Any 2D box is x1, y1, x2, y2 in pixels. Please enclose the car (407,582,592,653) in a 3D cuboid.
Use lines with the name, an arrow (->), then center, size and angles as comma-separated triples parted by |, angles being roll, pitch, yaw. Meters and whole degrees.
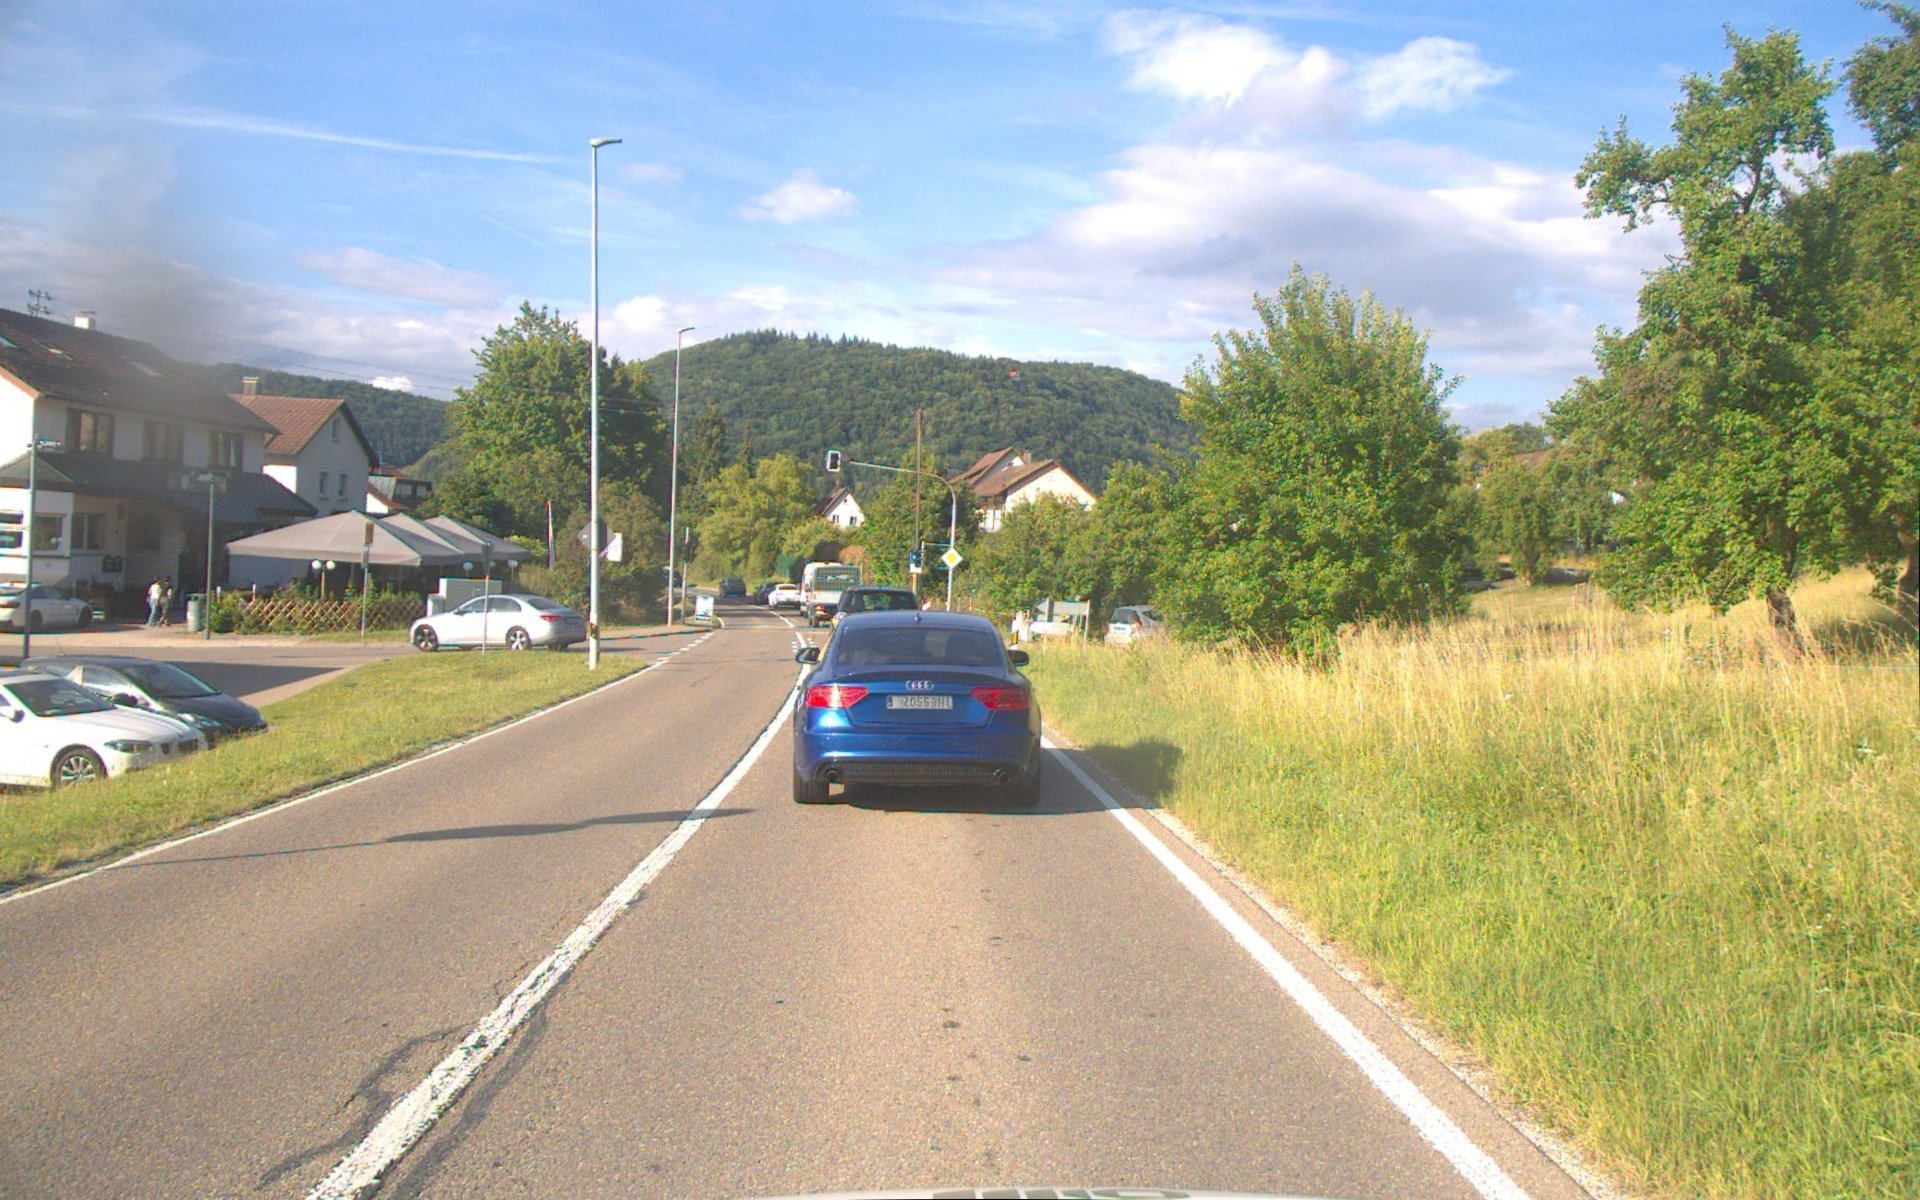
car -> -11.629, 0.432, 41.741 | 4.361, 1.668, 1.809 | 1, -1, 26

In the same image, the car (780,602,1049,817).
car -> -0.199, 0.742, 12.956 | 1.758, 1.412, 4.002 | 0, -1, 3

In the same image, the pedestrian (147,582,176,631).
pedestrian -> -25.158, 0.199, 52.134 | 0.596, 1.529, 0.589 | 1, -1, -1

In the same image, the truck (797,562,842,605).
truck -> -6.939, -0.771, 80.978 | 1.667, 1.988, 5.908 | 1, -1, -10

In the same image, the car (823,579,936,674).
car -> -1.466, 0.490, 31.685 | 1.709, 1.668, 4.002 | 1, -1, 3

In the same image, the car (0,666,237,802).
car -> -12.107, 1.672, 21.470 | 4.711, 1.520, 1.882 | 1, -1, 11

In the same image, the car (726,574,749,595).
car -> -17.103, -1.177, 127.170 | 1.666, 1.516, 3.520 | 1, -1, -8

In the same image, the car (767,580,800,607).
car -> -10.413, -0.366, 97.531 | 1.667, 1.516, 3.518 | 1, -1, -10

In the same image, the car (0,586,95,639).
car -> -27.410, 0.368, 48.944 | 1.524, 1.475, 3.999 | 1, -1, -1

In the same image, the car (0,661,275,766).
car -> -12.303, 1.622, 24.098 | 3.902, 1.333, 1.762 | 1, -1, 7

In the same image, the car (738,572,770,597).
car -> -13.376, -0.973, 107.137 | 1.668, 1.516, 3.514 | 1, -1, -14

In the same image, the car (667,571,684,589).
car -> -27.349, -1.898, 159.049 | 1.597, 1.604, 3.670 | 1, -1, -11

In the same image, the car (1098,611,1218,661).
car -> 6.281, 1.144, 52.287 | 3.691, 1.503, 1.609 | 1, -1, -37

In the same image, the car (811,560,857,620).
car -> -4.893, -0.367, 64.059 | 1.712, 2.234, 3.996 | 1, -1, -5
